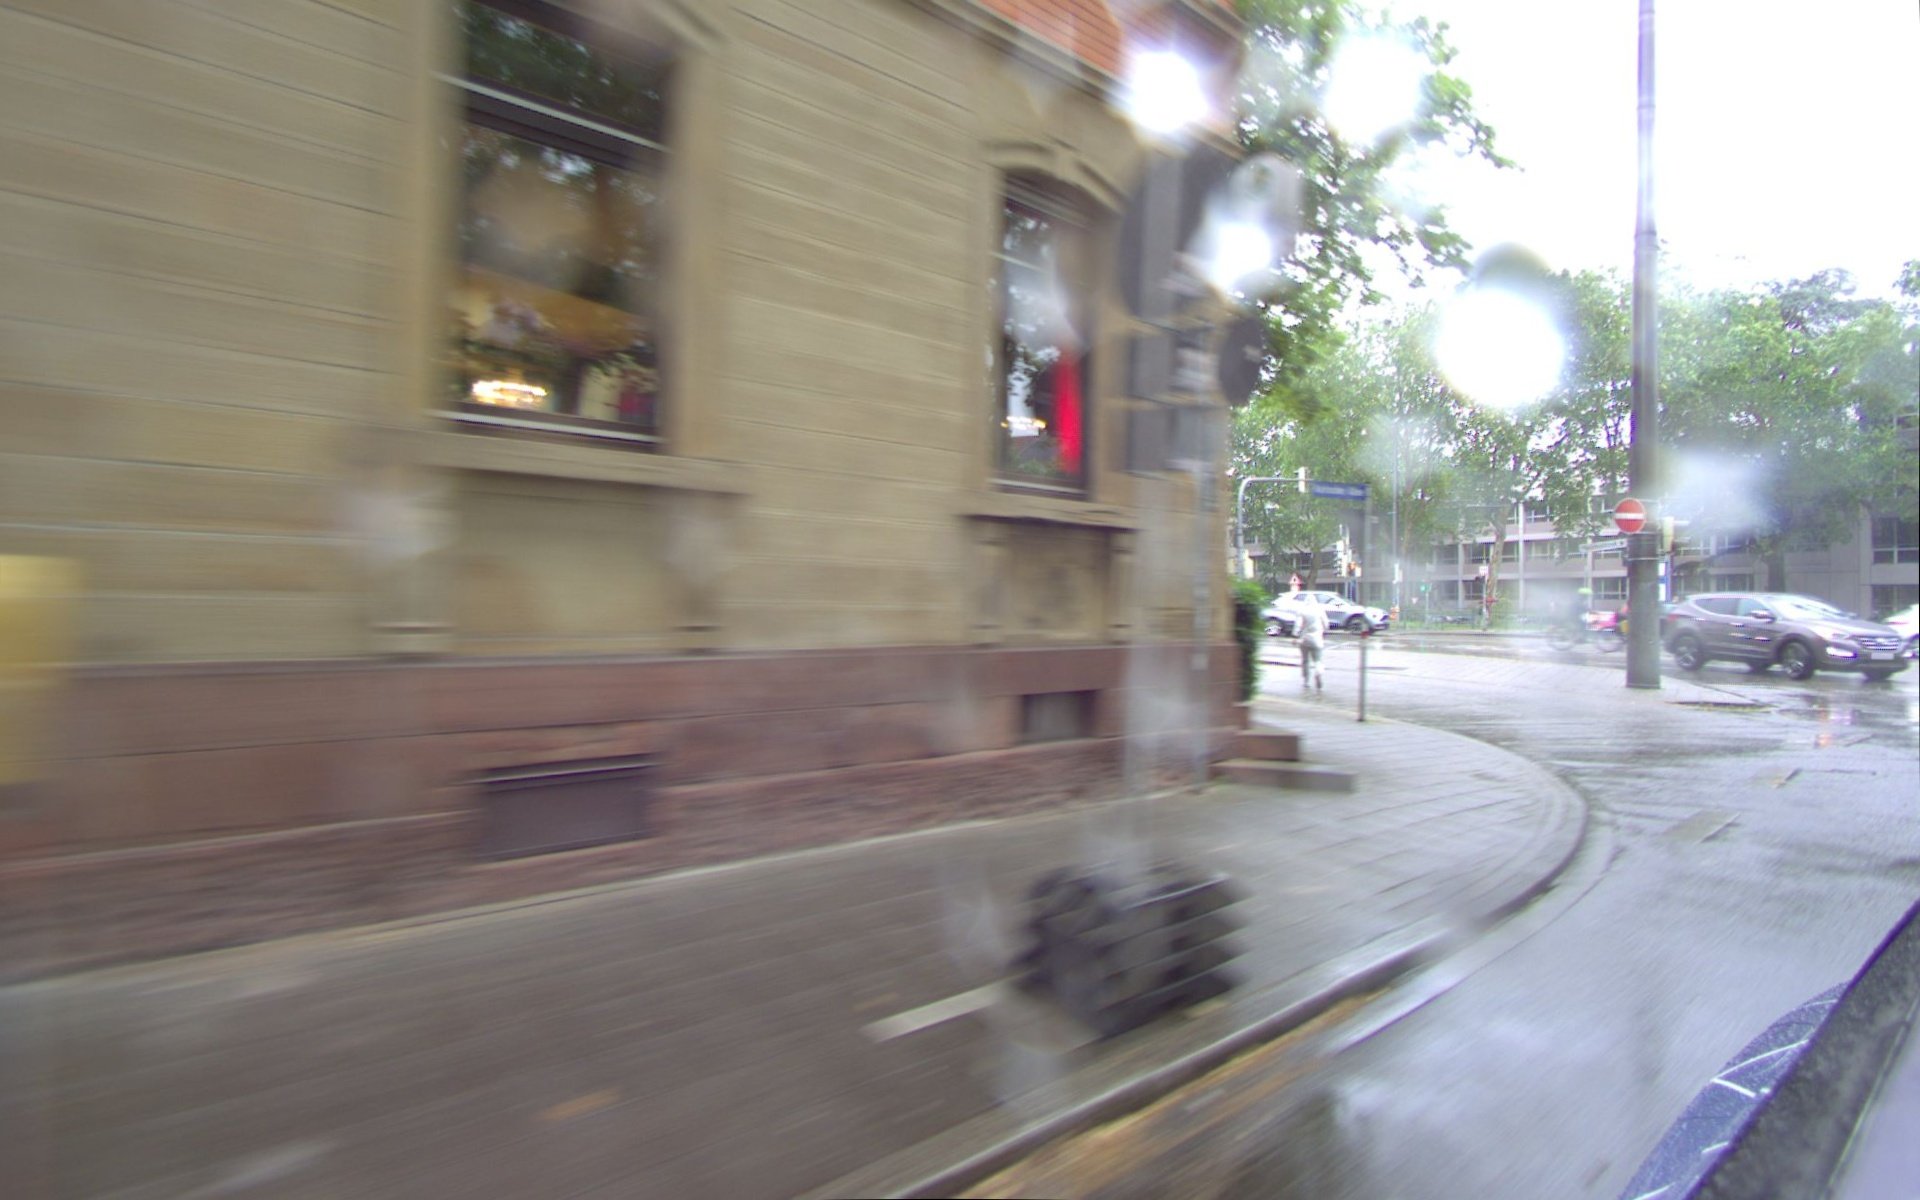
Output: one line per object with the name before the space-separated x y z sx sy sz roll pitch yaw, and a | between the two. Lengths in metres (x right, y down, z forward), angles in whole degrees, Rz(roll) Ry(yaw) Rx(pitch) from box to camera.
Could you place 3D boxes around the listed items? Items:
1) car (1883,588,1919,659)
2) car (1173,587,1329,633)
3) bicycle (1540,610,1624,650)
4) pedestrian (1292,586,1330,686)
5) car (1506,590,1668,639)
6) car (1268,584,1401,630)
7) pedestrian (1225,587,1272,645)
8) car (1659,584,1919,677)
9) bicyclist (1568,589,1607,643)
car | 25.962 0.563 25.113 4.239 1.763 1.952 0 1 35
car | 10.856 0.358 37.977 5.308 1.613 1.921 0 -1 39
bicycle | 18.097 0.852 29.452 1.989 1.101 0.807 0 1 40
pedestrian | 6.659 0.680 19.184 0.559 1.796 1.196 3 -1 21
car | 21.066 0.448 34.089 4.528 1.532 1.764 0 1 36
car | 14.521 0.248 39.339 4.528 1.681 1.764 0 1 36
pedestrian | 8.608 0.464 30.231 1.085 1.688 0.998 -1 0 0
car | 17.096 0.534 20.860 1.876 1.667 4.684 -1 1 -4
bicyclist | 18.247 0.445 29.428 0.802 1.488 0.914 1 2 41
